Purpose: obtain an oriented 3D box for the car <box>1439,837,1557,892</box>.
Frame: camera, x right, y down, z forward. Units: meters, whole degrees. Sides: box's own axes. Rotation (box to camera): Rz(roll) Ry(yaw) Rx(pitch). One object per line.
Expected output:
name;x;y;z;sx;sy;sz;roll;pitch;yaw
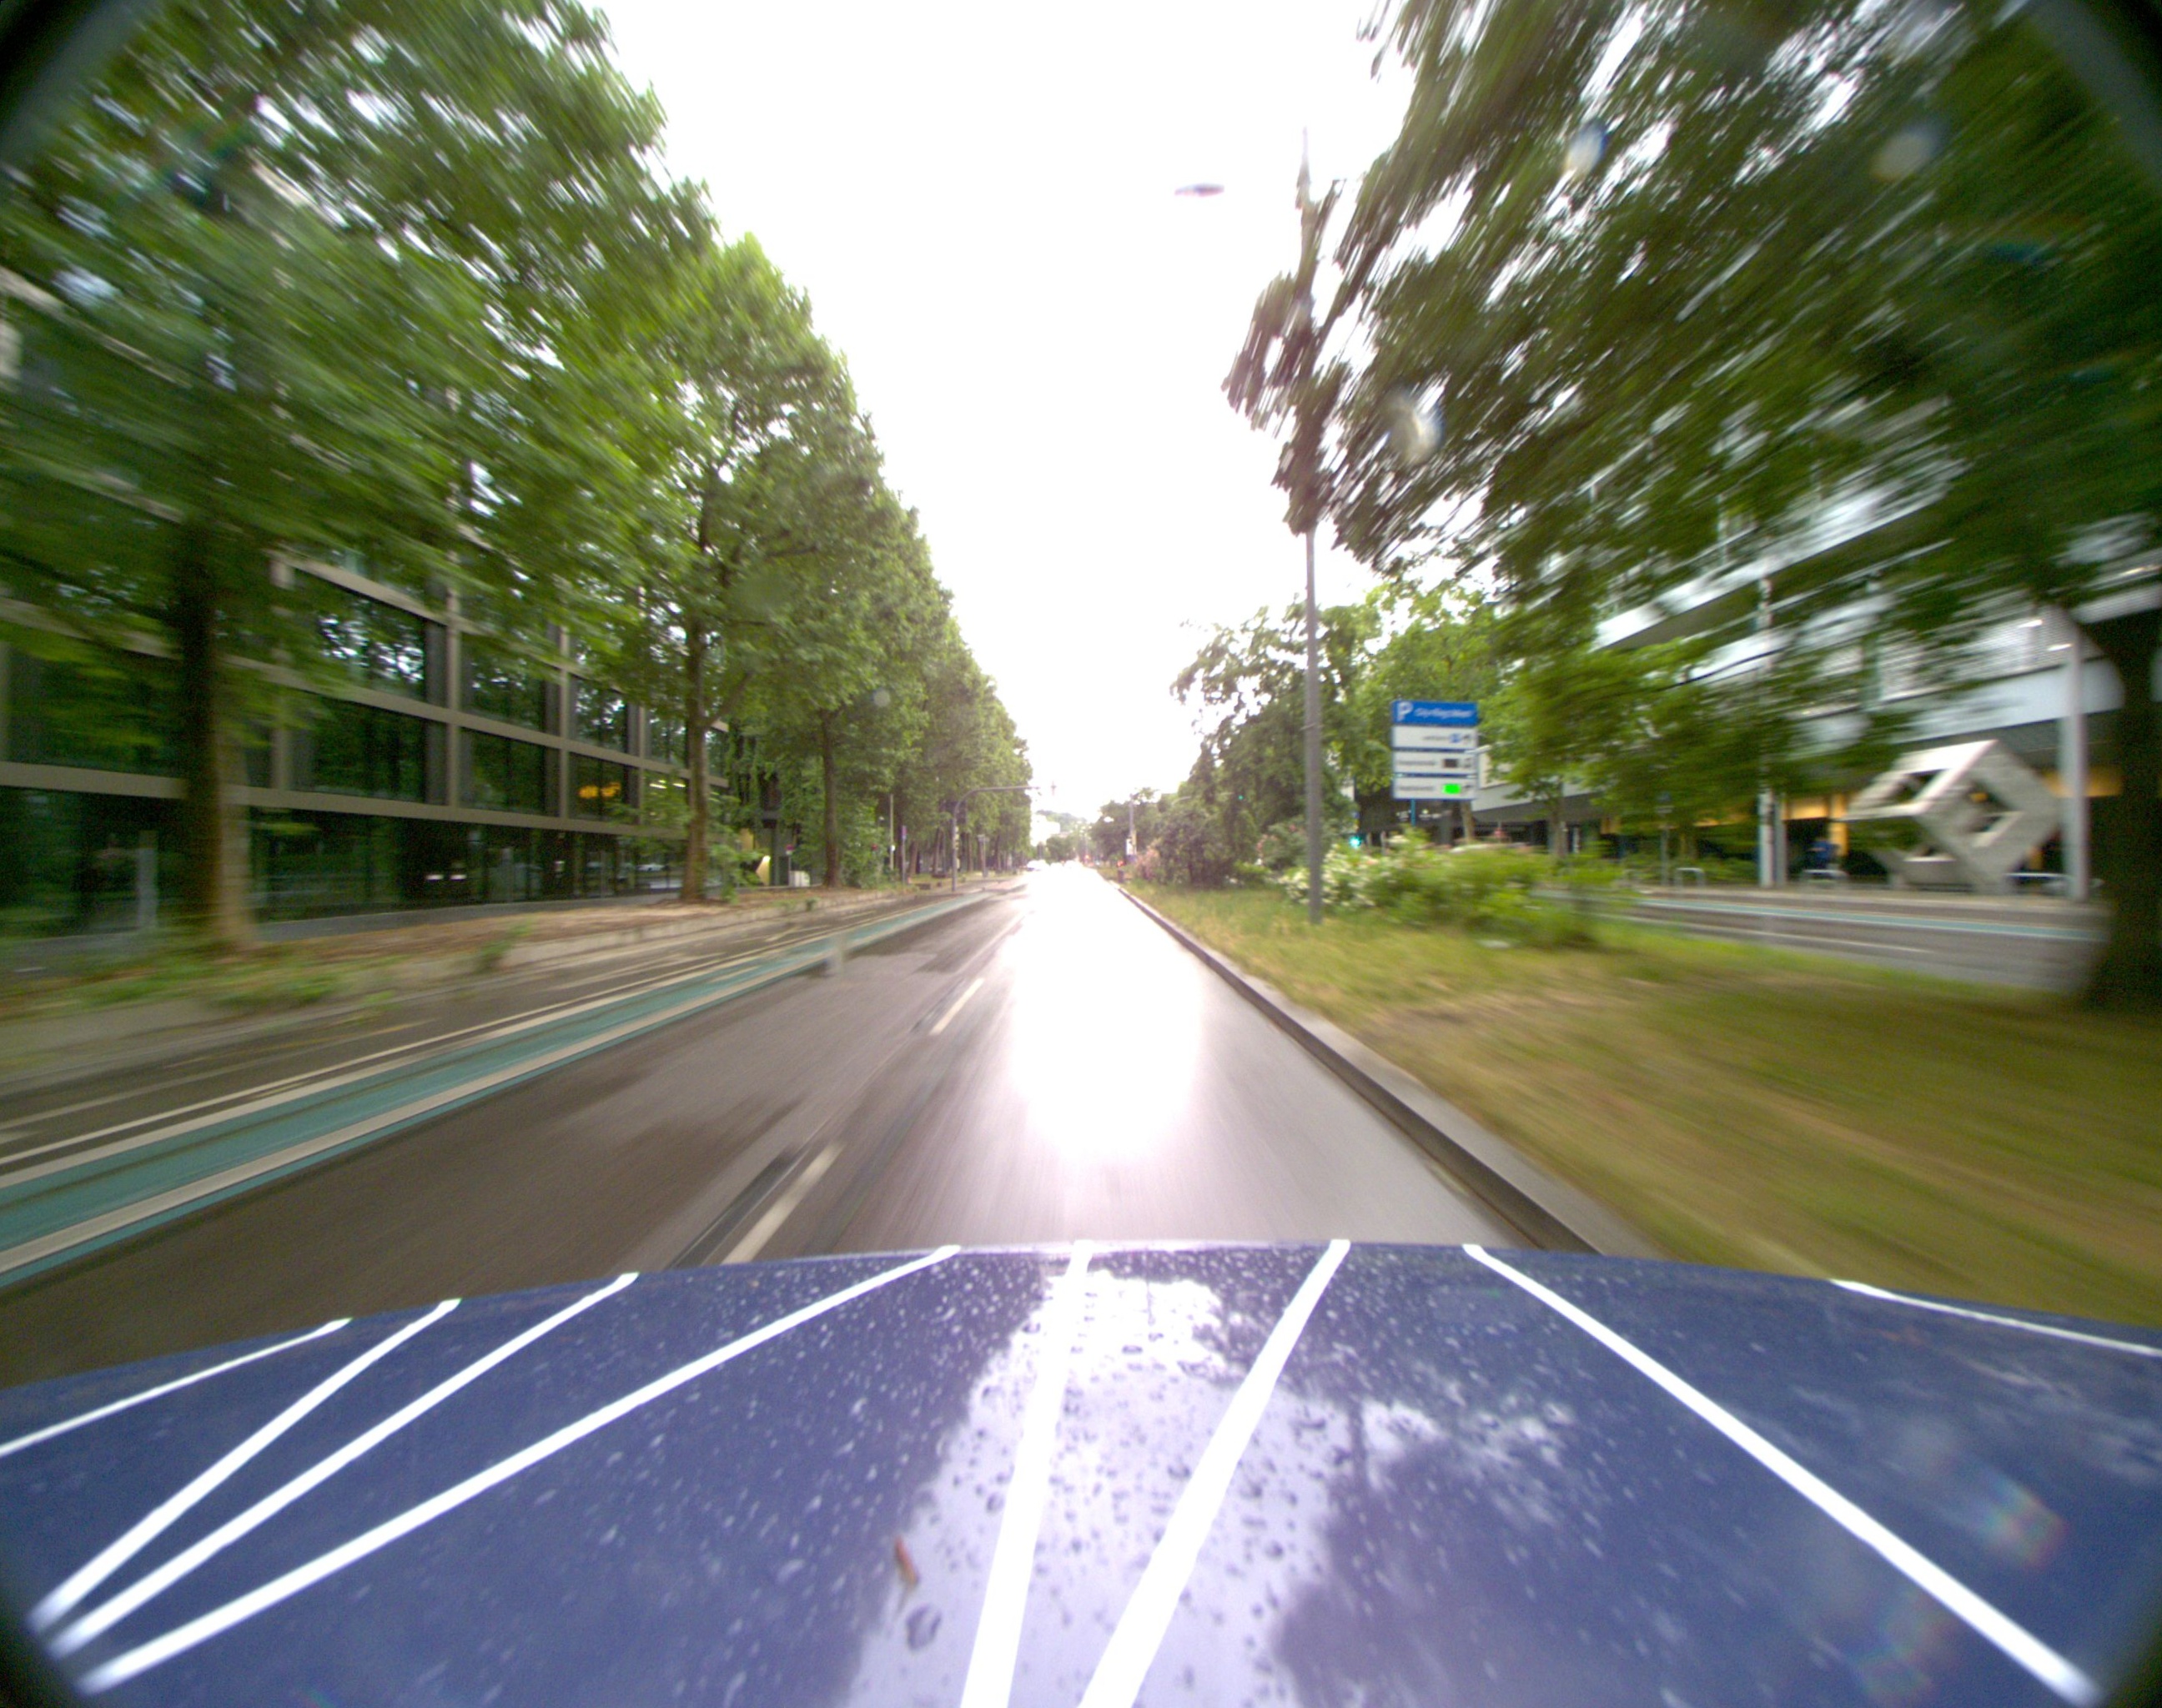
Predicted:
car;14.616;0.356;26.966;1.998;1.791;4.282;-1;0;3
